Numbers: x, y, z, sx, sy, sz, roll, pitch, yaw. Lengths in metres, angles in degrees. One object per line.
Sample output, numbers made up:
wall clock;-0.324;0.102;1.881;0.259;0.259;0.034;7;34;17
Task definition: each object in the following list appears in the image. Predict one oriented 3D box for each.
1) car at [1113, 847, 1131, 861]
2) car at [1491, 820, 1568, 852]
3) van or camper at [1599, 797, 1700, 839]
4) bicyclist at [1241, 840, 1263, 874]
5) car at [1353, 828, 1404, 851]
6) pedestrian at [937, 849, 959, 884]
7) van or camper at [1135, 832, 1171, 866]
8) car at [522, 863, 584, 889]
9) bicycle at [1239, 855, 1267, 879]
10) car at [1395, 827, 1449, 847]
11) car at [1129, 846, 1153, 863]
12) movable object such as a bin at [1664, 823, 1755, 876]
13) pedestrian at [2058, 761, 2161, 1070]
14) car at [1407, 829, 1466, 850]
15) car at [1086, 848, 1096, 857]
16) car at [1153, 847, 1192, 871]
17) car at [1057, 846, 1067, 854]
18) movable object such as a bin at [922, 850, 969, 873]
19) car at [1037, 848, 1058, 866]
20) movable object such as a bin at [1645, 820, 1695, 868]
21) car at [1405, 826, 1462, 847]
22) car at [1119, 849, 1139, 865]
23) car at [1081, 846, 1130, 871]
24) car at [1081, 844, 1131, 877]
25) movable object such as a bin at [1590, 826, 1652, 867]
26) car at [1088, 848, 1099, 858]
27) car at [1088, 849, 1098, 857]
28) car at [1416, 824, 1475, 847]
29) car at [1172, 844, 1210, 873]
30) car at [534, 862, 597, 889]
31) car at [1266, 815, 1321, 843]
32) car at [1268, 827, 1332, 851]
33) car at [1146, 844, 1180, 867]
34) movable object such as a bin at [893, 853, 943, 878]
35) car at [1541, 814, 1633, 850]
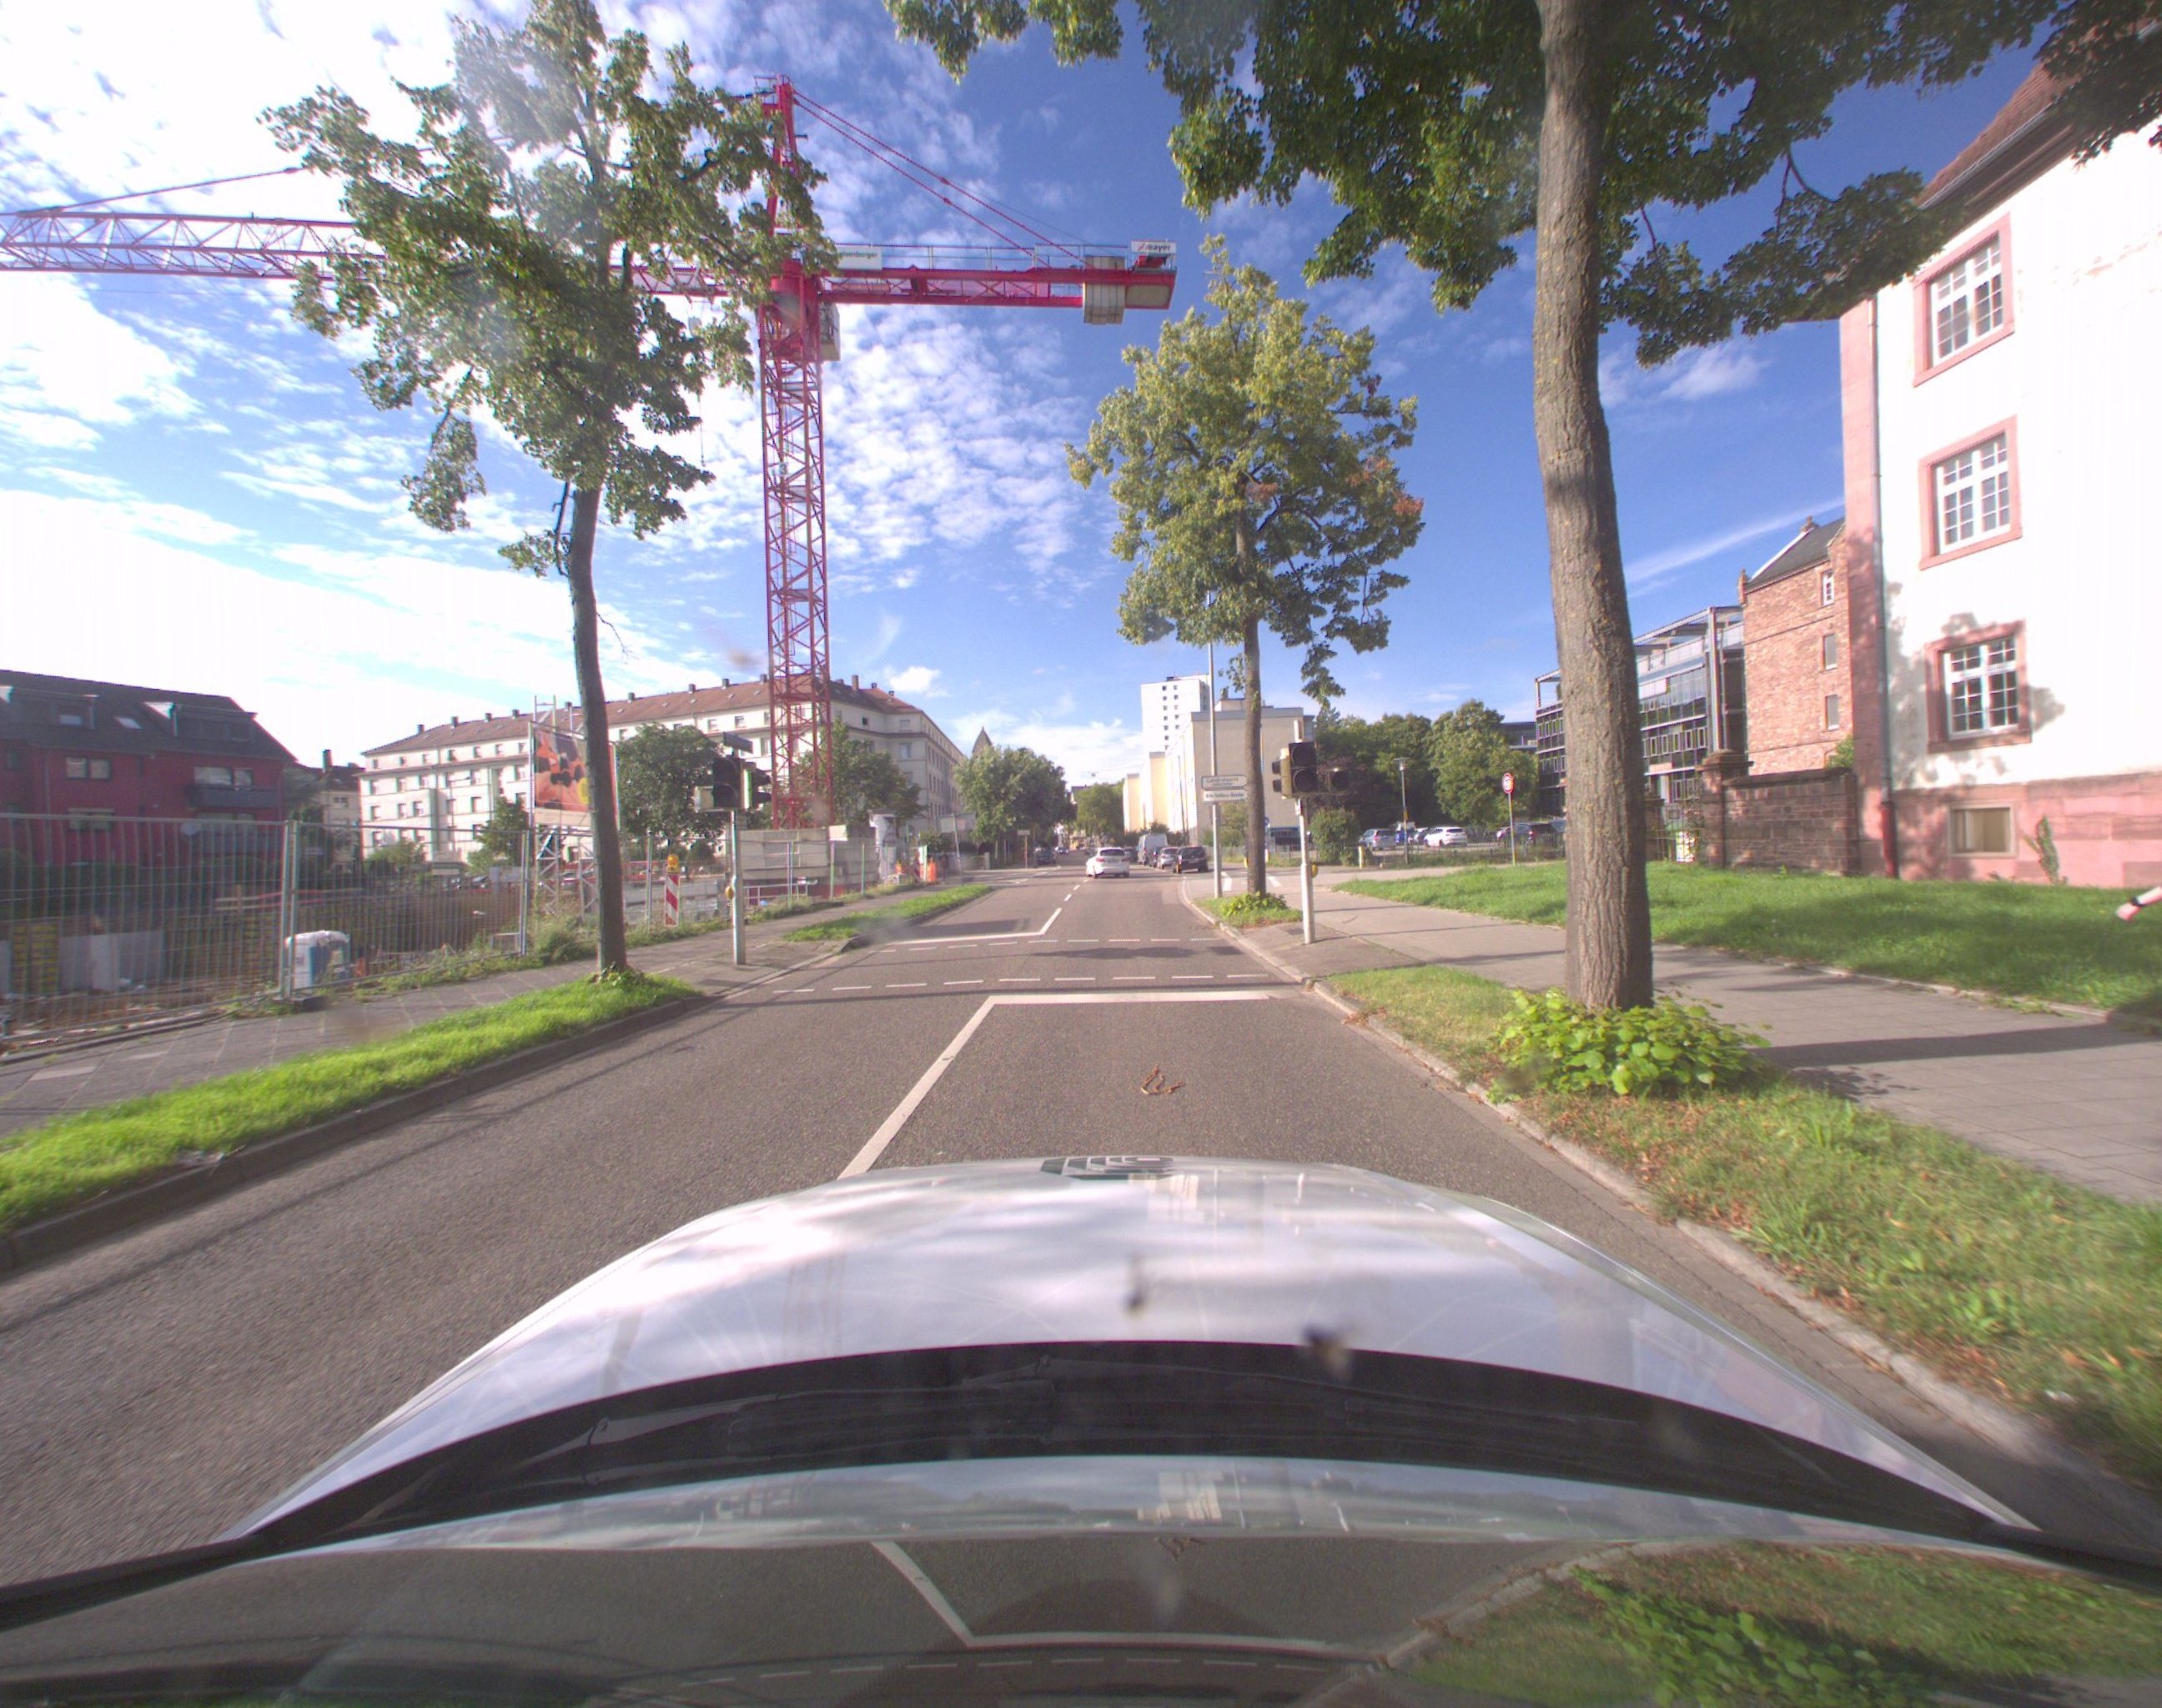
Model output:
car;5.155;-0.008;102.935;1.987;1.574;4.000;-3;0;1
car;25.150;-0.975;45.881;1.843;1.589;4.610;-4;0;2
van or camper;39.737;-2.465;57.045;5.223;2.556;2.595;-3;0;-1
bicyclist;8.097;0.134;38.614;0.734;1.513;0.875;-5;0;1
car;20.863;-1.008;57.191;1.988;1.442;3.998;-3;0;-1
pedestrian;-6.695;0.630;40.904;1.007;1.728;1.174;-2;-1;-11
van or camper;5.995;-0.417;68.584;2.204;2.607;5.366;-3;0;-2
car;-43.858;1.769;67.719;1.979;2.013;4.015;-2;0;13
bicycle;8.138;0.595;38.616;0.737;1.034;2.763;-5;0;1
car;30.454;-1.481;72.843;3.974;1.552;2.000;-3;0;0
car;5.825;0.038;79.357;1.987;1.574;4.000;-3;0;1
movable object such as a bin;18.309;-0.131;23.786;1.410;1.459;1.543;-2;0;-2
pedestrian;5.915;0.287;4.156;0.811;1.590;0.769;-5;0;0
car;29.608;-1.226;67.938;3.974;1.486;2.000;-3;0;0
car;2.211;-0.339;172.102;1.986;1.755;4.002;-2;0;2
car;6.366;0.351;57.025;2.010;1.475;4.799;-4;0;-2
car;-4.275;-0.981;182.094;2.052;1.663;3.919;-4;0;-5
movable object such as a bin;-10.258;0.571;61.704;3.080;1.708;1.416;-2;0;14
car;-3.527;0.303;84.926;1.990;1.640;3.993;-3;0;-5
movable object such as a bin;18.185;-0.307;25.158;0.827;1.423;0.942;-2;0;-2
car;30.489;-1.515;70.496;3.974;1.596;2.000;-3;0;0
car;5.293;0.294;89.835;1.987;1.574;4.000;-3;0;1
car;1.745;0.300;57.160;1.975;1.570;4.023;-2;0;25
car;1.216;0.332;42.090;1.991;1.555;4.264;-1;0;-7
movable object such as a bin;17.094;-0.245;25.799;1.187;1.231;1.092;-2;0;-2
car;2.391;-0.218;156.826;1.986;1.755;4.002;-2;0;2
car;2.546;-0.236;176.879;1.986;1.755;4.002;-2;0;2
car;25.403;-1.245;56.840;1.991;1.442;3.992;-3;0;-6
car;6.073;0.220;45.472;1.710;1.496;4.271;-2;0;2
car;-41.784;1.711;66.162;1.979;2.013;4.015;-2;0;13
car;18.097;-2.119;69.520;4.100;2.186;2.003;-3;0;4
car;16.957;-1.162;63.294;4.427;1.621;2.003;-3;0;4
car;6.236;0.116;62.379;1.988;1.615;4.405;-3;0;-2
movable object such as a bin;-11.660;0.830;58.346;3.079;1.708;1.554;-2;0;16
car;28.016;-1.161;45.326;1.846;1.743;4.796;-4;0;-3
